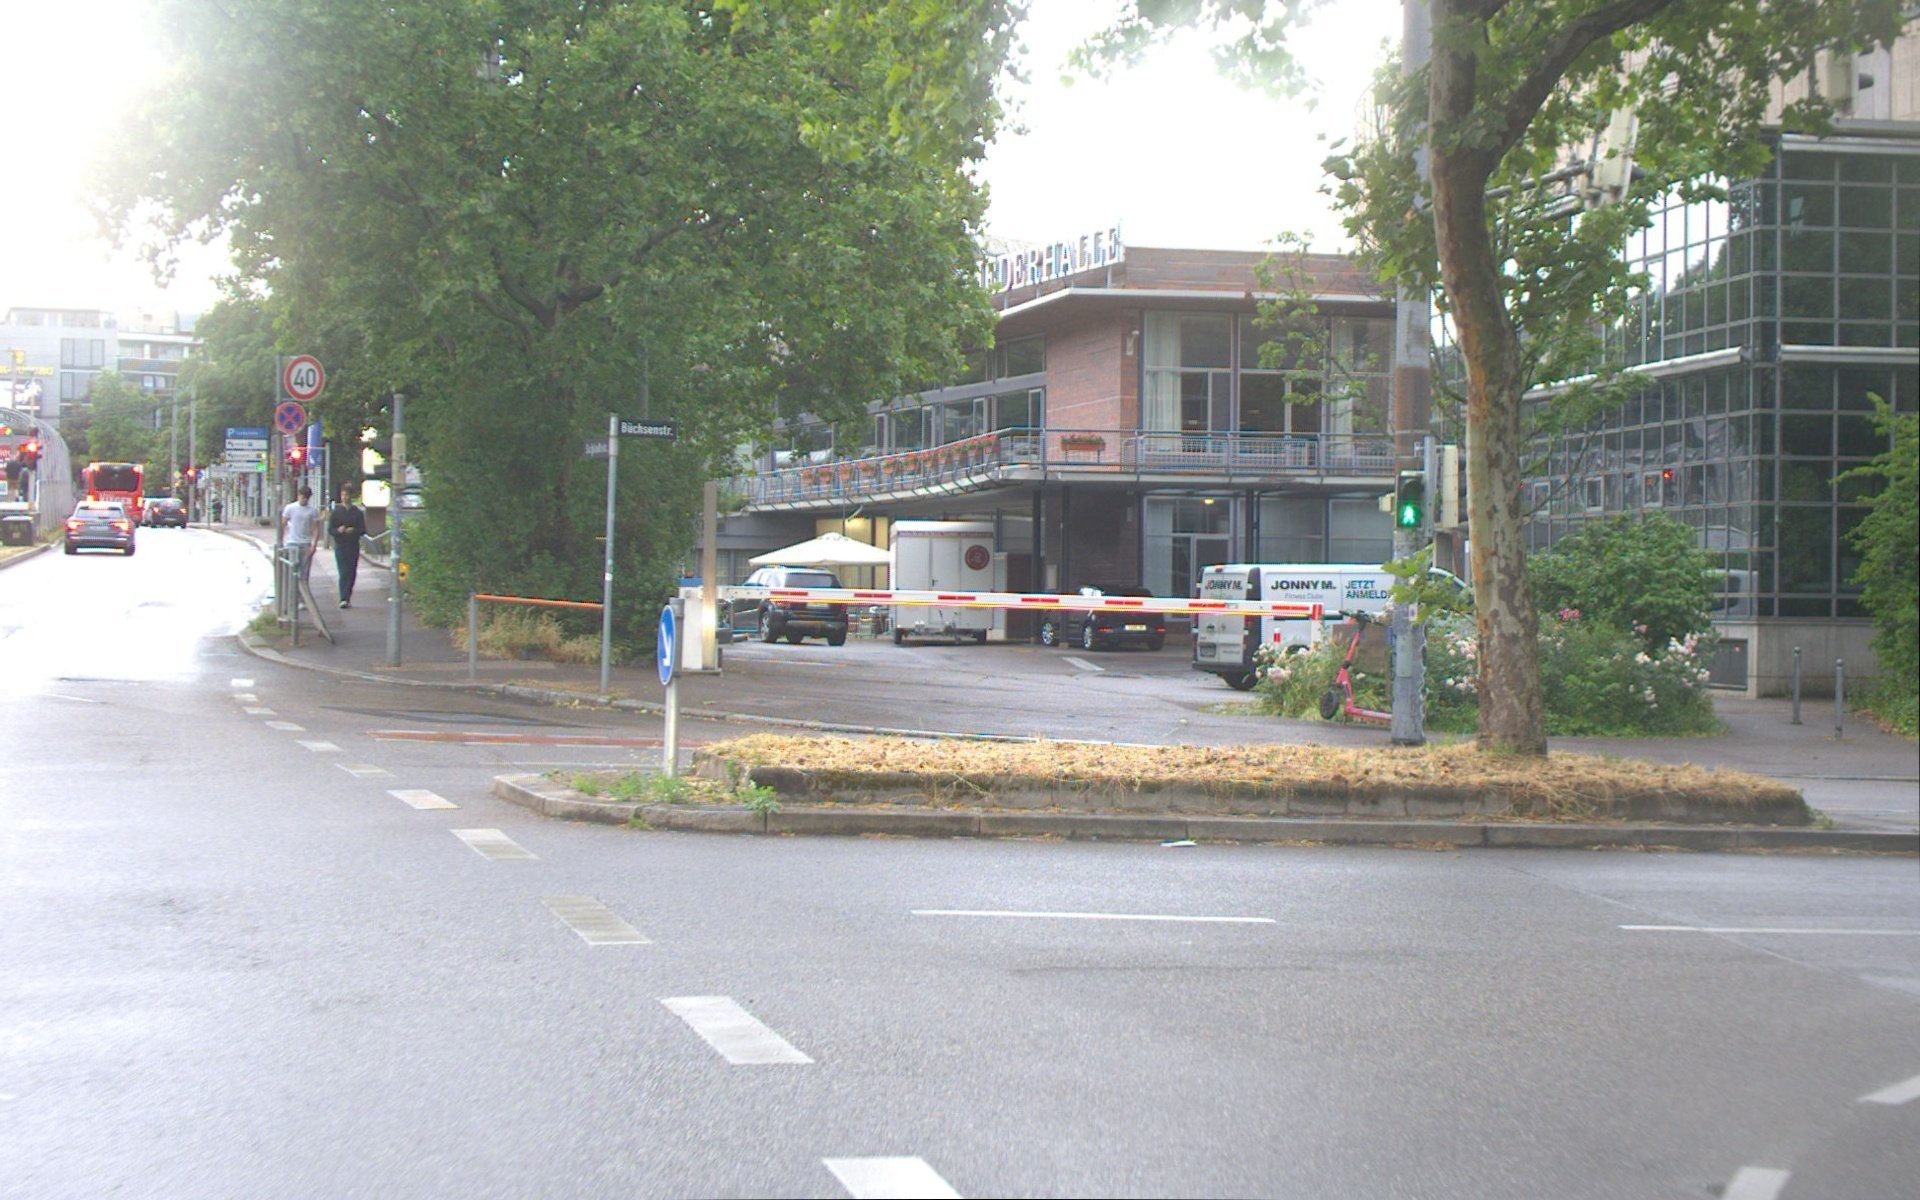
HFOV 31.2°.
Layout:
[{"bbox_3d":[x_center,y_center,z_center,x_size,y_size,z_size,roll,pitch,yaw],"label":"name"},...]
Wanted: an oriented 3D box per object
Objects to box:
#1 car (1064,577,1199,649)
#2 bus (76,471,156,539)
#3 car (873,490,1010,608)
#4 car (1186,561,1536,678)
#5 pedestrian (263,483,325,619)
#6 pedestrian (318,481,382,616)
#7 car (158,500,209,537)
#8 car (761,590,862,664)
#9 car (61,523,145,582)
[{"bbox_3d":[3.992,0.287,80.676,2.019,1.545,4.352,1,1,-13],"label":"car"},{"bbox_3d":[-41.112,-4.592,167.653,3.589,3.160,10.423,-2,1,-13],"label":"bus"},{"bbox_3d":[-0.518,-1.259,82.839,2.731,2.686,6.924,1,1,-5],"label":"car"},{"bbox_3d":[6.270,0.288,53.655,5.198,1.725,1.875,0,1,-25],"label":"car"},{"bbox_3d":[-10.065,-0.747,52.007,0.814,2.007,1.077,-1,1,-8],"label":"pedestrian"},{"bbox_3d":[-9.262,-0.787,52.227,0.874,2.007,1.077,-1,1,-8],"label":"pedestrian"},{"bbox_3d":[-39.015,-4.084,172.650,2.362,1.810,5.185,-2,1,-13],"label":"car"},{"bbox_3d":[-3.400,0.596,79.374,2.019,1.545,4.350,1,1,1],"label":"car"},{"bbox_3d":[-23.220,-1.293,93.295,1.993,1.514,4.352,-2,1,-12],"label":"car"}]
